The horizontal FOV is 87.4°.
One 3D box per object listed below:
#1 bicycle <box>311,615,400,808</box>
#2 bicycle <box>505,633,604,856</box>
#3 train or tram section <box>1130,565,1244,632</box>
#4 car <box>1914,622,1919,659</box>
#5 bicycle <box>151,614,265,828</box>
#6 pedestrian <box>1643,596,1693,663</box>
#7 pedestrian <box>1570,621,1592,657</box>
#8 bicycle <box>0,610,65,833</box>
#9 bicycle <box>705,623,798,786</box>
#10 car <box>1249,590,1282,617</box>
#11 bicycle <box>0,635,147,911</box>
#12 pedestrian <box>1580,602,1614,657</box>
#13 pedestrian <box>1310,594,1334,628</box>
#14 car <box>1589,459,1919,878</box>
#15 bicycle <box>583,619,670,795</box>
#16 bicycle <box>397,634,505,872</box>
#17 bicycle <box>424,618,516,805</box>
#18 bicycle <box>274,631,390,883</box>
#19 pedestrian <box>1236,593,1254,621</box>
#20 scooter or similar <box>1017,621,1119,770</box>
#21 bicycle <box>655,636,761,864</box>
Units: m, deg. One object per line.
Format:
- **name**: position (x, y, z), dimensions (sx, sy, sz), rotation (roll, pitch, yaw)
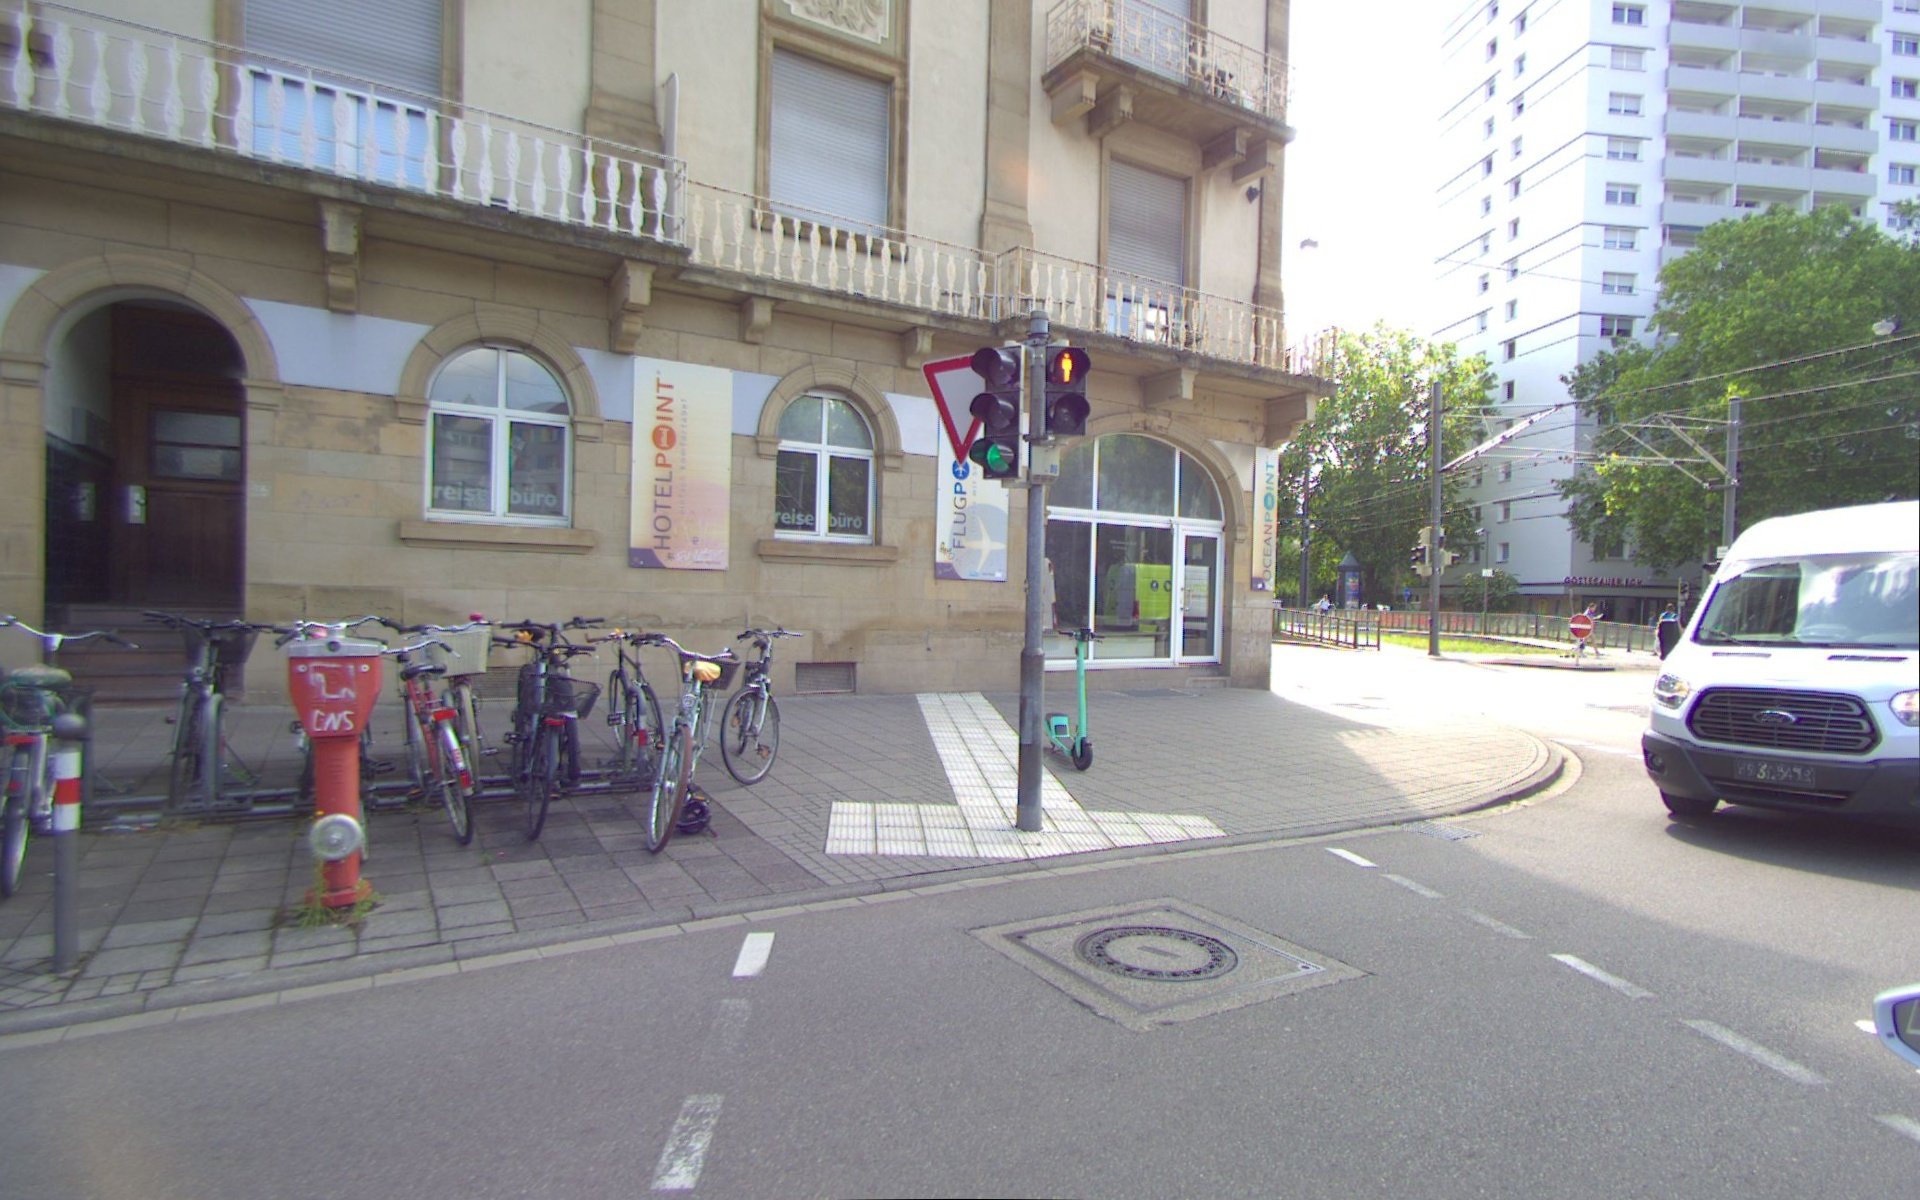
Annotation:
- **bicycle**: position (-4.045, 0.683, 6.775), dimensions (0.457, 1.066, 1.472), rotation (1, 3, -29)
- **bicycle**: position (-2.479, 0.793, 6.127), dimensions (0.474, 1.066, 1.573), rotation (1, 2, -23)
- **train or tram section**: position (13.806, -0.091, 62.680), dimensions (2.764, 3.632, 13.002), rotation (2, 0, -6)
- **car**: position (42.898, 1.794, 42.366), dimensions (3.506, 1.564, 1.557), rotation (2, 0, 22)
- **bicycle**: position (-4.564, 0.665, 6.153), dimensions (0.457, 1.066, 1.470), rotation (1, 3, -33)
- **pedestrian**: position (20.988, 0.865, 29.783), dimensions (0.814, 1.924, 0.845), rotation (2, 0, -6)
- **pedestrian**: position (19.081, 1.189, 30.864), dimensions (0.412, 1.077, 0.437), rotation (2, 0, 10)
- **bicycle**: position (-5.452, 0.632, 5.489), dimensions (0.551, 1.066, 1.618), rotation (1, 3, -31)
- **bicycle**: position (-1.661, 0.761, 7.864), dimensions (0.473, 1.066, 1.436), rotation (1, 2, -21)
- **car**: position (32.714, 0.393, 107.755), dimensions (1.779, 2.811, 4.274), rotation (2, 0, -6)
- **bicycle**: position (-4.417, 0.766, 4.971), dimensions (0.457, 1.066, 1.470), rotation (1, 3, -33)
- **pedestrian**: position (19.852, 0.902, 31.321), dimensions (0.613, 1.688, 0.676), rotation (1, 0, 5)
- **pedestrian**: position (19.890, 0.591, 55.198), dimensions (0.835, 1.804, 1.044), rotation (1, 0, -6)
- **car**: position (7.725, 0.414, 8.201), dimensions (5.879, 2.477, 2.065), rotation (0, -1, -32)
- **bicycle**: position (-2.508, 0.728, 7.465), dimensions (0.474, 1.066, 1.605), rotation (1, 2, -23)
- **bicycle**: position (-2.877, 0.778, 5.625), dimensions (0.413, 1.066, 1.361), rotation (1, 3, -32)
- **bicycle**: position (-3.405, 0.714, 7.055), dimensions (0.474, 1.066, 1.573), rotation (1, 2, -23)
- **bicycle**: position (-3.343, 0.754, 5.411), dimensions (0.457, 1.066, 1.472), rotation (1, 3, -30)
- **pedestrian**: position (19.132, 0.466, 67.515), dimensions (0.844, 1.798, 0.875), rotation (2, 0, -6)
- **scooter or similar**: position (0.934, 0.812, 8.954), dimensions (0.473, 1.161, 1.250), rotation (2, 2, -13)
- **bicycle**: position (-1.551, 0.826, 6.179), dimensions (0.522, 1.066, 1.731), rotation (1, 2, -14)
